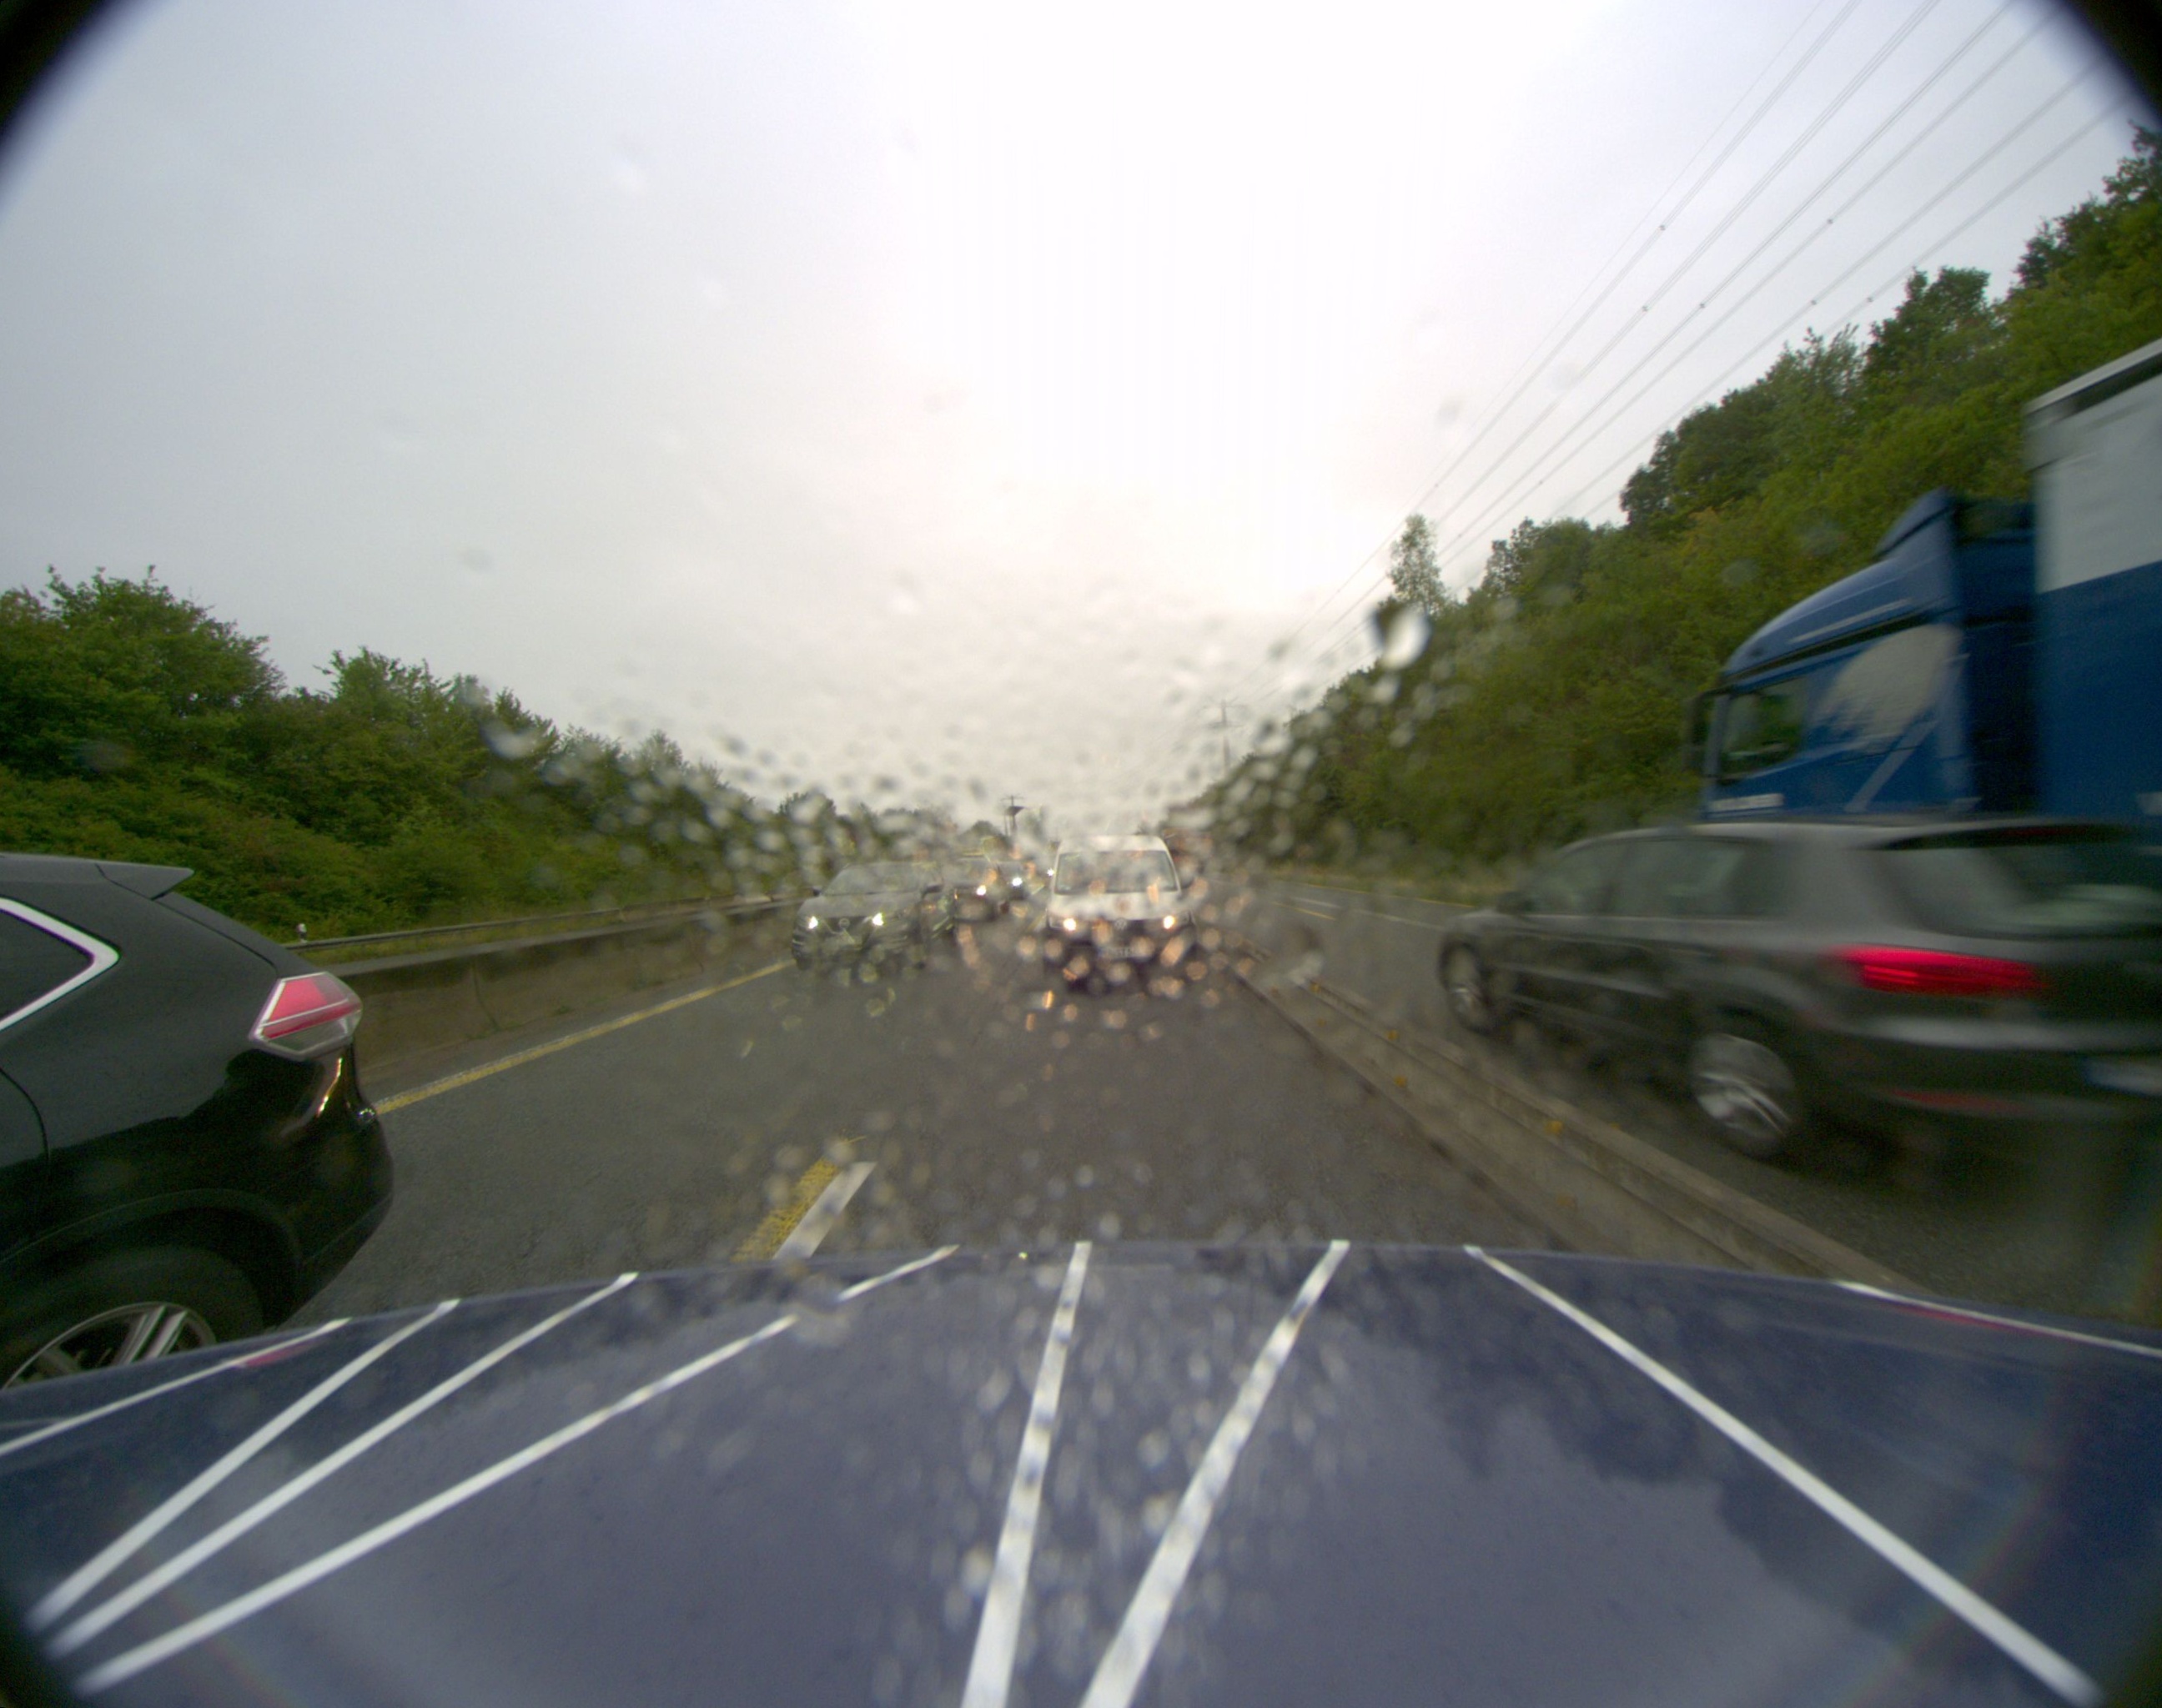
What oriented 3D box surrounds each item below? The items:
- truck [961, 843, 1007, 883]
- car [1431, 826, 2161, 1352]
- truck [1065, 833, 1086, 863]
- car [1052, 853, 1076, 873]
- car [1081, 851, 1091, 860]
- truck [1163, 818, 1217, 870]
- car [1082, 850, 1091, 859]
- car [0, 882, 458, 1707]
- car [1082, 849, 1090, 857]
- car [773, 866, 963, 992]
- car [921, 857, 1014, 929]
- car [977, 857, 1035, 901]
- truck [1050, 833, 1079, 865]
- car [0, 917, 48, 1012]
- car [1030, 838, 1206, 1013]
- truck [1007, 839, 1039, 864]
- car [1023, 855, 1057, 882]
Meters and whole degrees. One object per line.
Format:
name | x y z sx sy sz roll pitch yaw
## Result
truck | -9.026 0.722 71.881 2.619 3.404 9.576 -2 1 2
car | 3.889 0.700 4.409 1.788 1.600 4.103 -2 1 0
truck | -0.745 -0.856 105.465 2.619 3.869 9.574 -2 1 0
car | -1.323 0.702 61.502 1.784 1.482 4.123 -2 1 0
car | 0.921 0.221 140.853 1.651 1.559 3.999 -2 1 1
truck | 8.442 -0.763 60.528 2.688 3.635 12.311 -2 1 1
car | 1.107 0.098 151.211 1.651 1.559 3.999 -2 1 1
car | -3.129 0.989 0.276 1.894 1.665 4.640 -2 1 0
car | 1.144 -0.241 169.784 1.651 1.559 3.999 -2 1 1
car | -3.119 1.023 12.060 1.784 1.482 4.123 -2 1 0
car | -2.873 0.929 20.115 1.784 1.589 4.123 -2 1 0
car | -2.812 0.911 29.428 1.784 1.482 4.123 -2 1 0
truck | -1.750 -0.591 85.736 2.619 3.404 9.575 -2 1 2
car | -21.437 2.176 12.916 1.733 1.759 4.329 -2 1 0
car | 0.396 0.727 10.309 1.784 1.775 4.697 -2 1 0
truck | -8.385 -0.387 110.993 3.329 3.404 9.576 -2 1 2
car | -2.478 0.863 46.618 1.784 1.482 4.123 -2 1 0
